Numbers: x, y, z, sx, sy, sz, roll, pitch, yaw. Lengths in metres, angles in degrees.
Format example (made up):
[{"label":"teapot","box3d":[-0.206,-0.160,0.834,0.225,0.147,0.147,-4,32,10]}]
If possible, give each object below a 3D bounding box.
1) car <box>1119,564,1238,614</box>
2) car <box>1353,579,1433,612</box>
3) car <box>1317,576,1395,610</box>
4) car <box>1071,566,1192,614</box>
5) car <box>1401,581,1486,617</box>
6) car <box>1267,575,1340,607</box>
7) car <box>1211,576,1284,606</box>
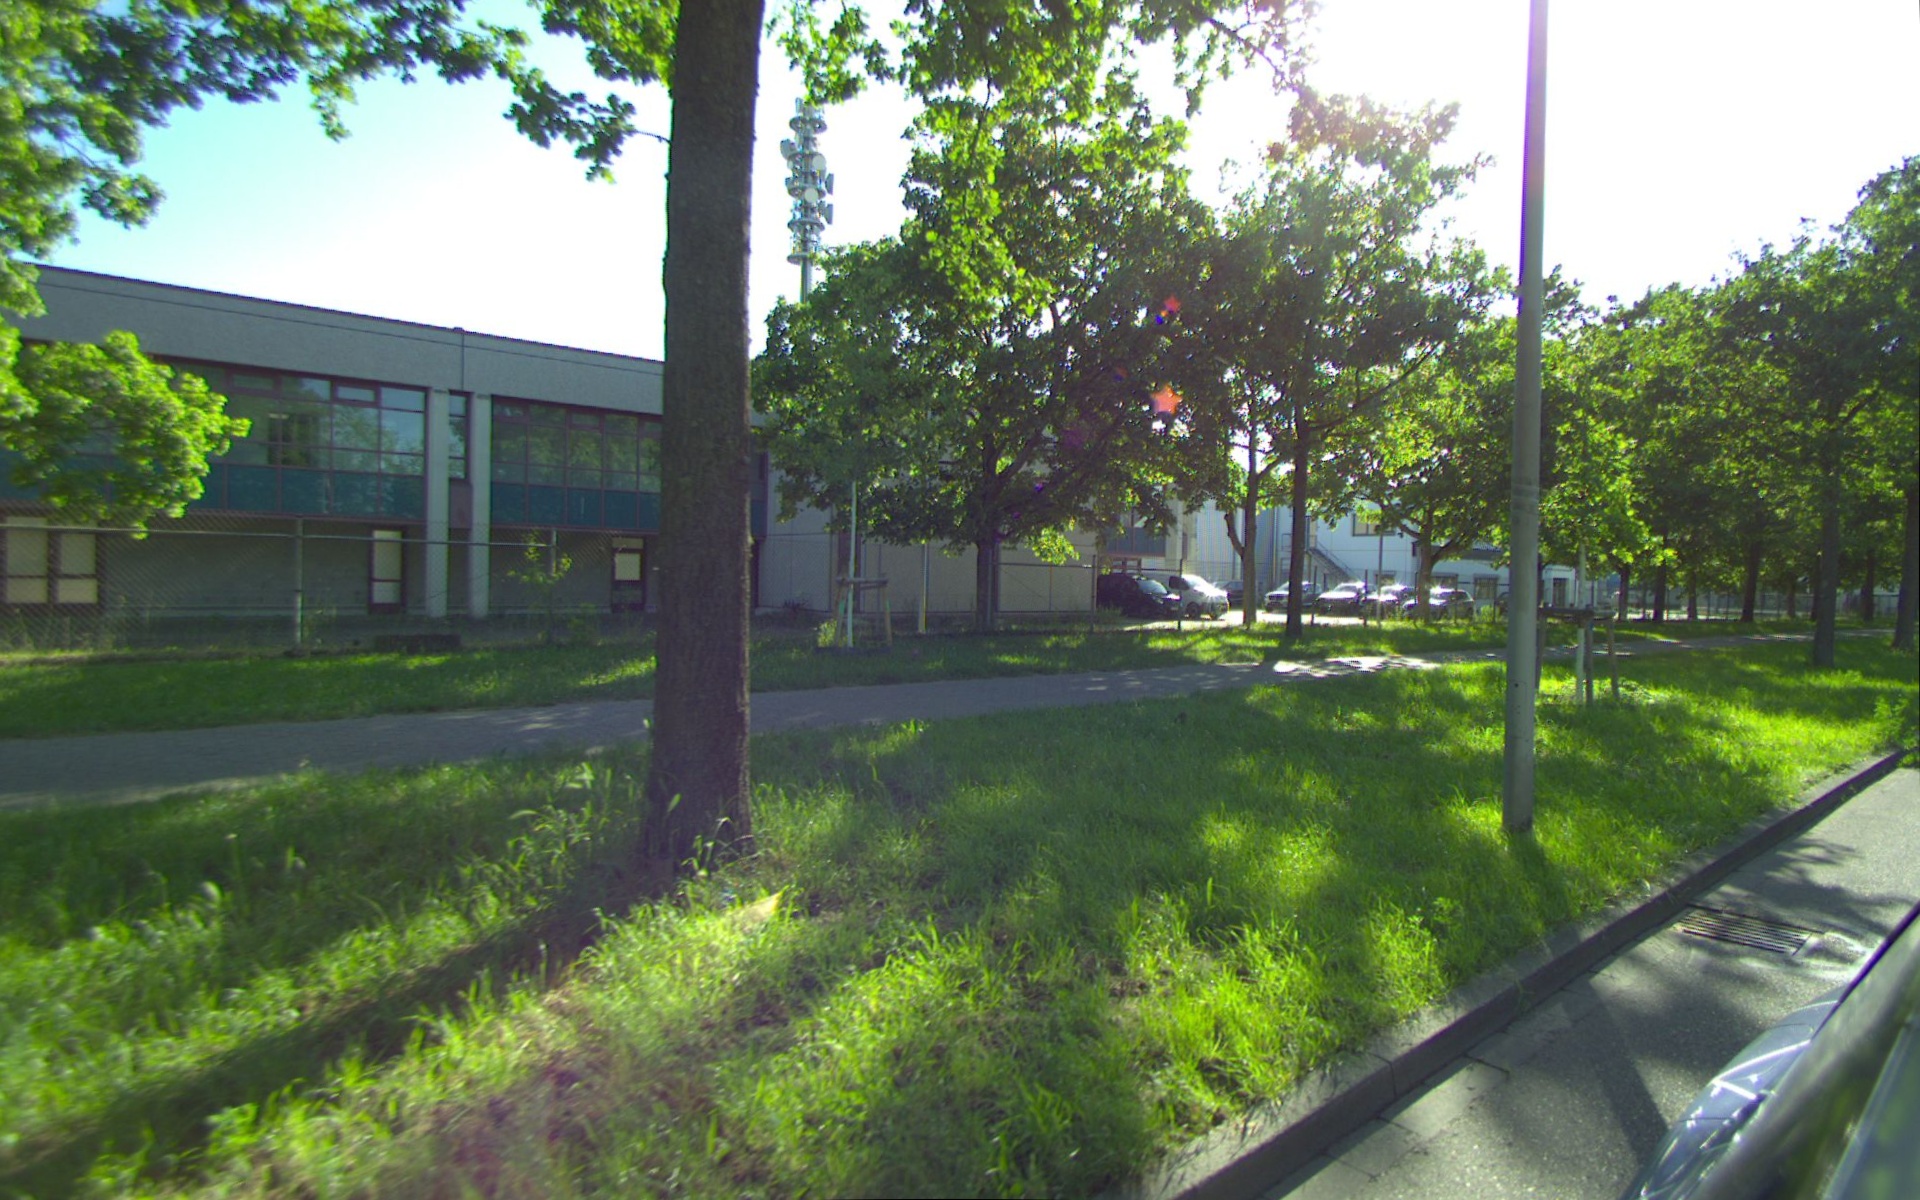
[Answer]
[{"label":"car","box3d":[9.763,-0.539,45.599,1.863,1.983,5.070,0,3,-43]},{"label":"car","box3d":[22.013,-0.227,51.352,4.378,1.578,1.997,0,2,-41]},{"label":"car","box3d":[20.962,-0.391,53.522,4.378,1.694,1.997,0,2,-41]},{"label":"car","box3d":[7.328,-0.471,43.619,1.967,1.907,4.954,0,2,-43]},{"label":"car","box3d":[23.356,-0.090,48.800,4.633,1.626,1.998,-1,2,-41]},{"label":"car","box3d":[18.736,-0.504,55.041,4.382,1.694,1.995,-1,0,-44]},{"label":"car","box3d":[16.908,-0.528,59.412,4.370,1.677,1.700,0,0,-34]}]
